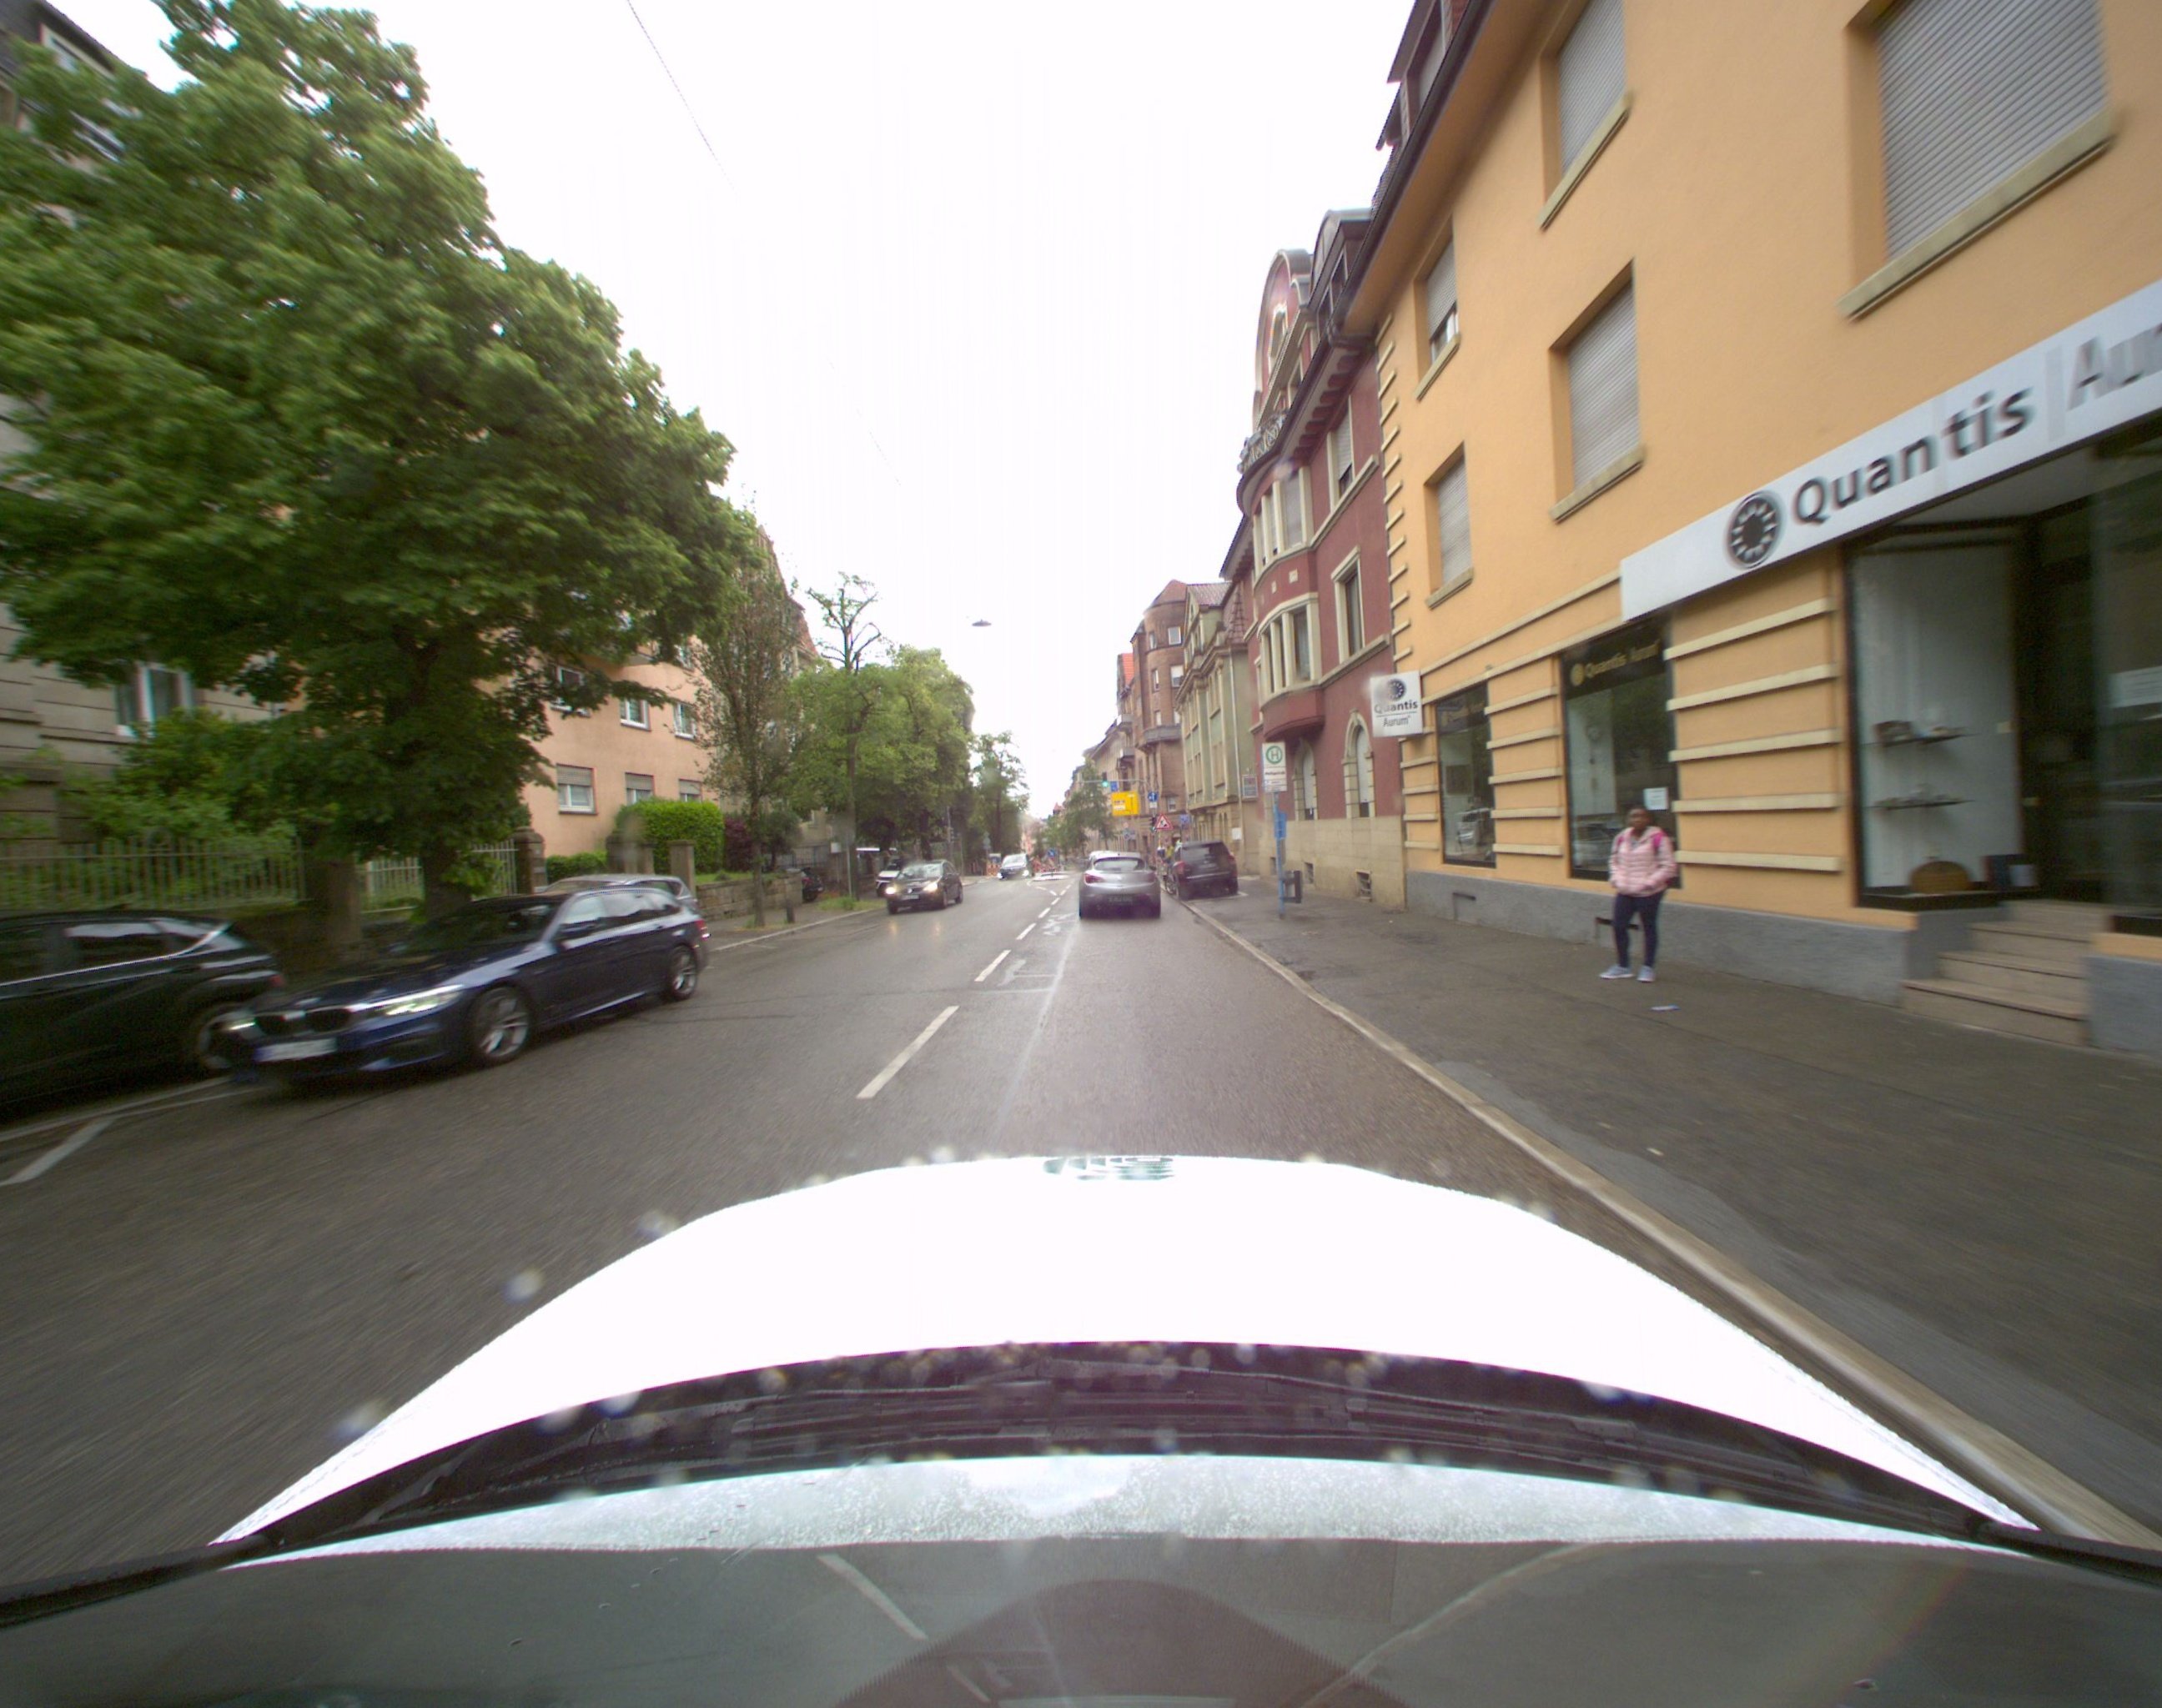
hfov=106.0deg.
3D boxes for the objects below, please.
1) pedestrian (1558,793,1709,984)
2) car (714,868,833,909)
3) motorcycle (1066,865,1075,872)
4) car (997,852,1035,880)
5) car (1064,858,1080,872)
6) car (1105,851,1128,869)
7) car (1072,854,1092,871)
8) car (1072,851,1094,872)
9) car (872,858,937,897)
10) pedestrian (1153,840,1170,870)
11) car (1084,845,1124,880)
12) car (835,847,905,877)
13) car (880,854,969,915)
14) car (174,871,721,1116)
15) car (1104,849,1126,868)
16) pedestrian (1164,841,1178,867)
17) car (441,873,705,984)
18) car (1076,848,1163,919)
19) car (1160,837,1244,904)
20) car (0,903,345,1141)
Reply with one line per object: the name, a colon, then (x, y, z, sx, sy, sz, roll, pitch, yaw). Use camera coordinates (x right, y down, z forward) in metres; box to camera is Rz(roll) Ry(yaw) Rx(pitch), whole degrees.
pedestrian: (4.954, 0.293, 7.336, 0.768, 1.589, 0.708, -4, -1, -17)
car: (-12.235, 1.357, 32.586, 3.974, 1.326, 1.837, -4, 0, 0)
motorcycle: (-1.874, 2.710, 147.326, 0.649, 1.236, 1.994, -3, -3, 34)
car: (-3.845, 0.697, 48.877, 1.809, 1.517, 4.548, -2, 0, 0)
car: (-1.170, 1.398, 104.741, 1.654, 1.543, 3.658, -6, -1, -5)
car: (3.475, 0.594, 79.715, 1.654, 1.543, 3.658, -6, -1, -5)
car: (0.077, 0.911, 83.946, 1.654, 1.543, 3.658, -6, -1, -5)
car: (0.201, 0.677, 68.574, 1.651, 1.543, 3.666, -6, -1, 1)
car: (-7.669, 1.016, 35.815, 1.734, 1.559, 4.304, -2, -1, 2)
pedestrian: (5.058, 0.072, 51.141, 0.712, 1.774, 0.669, -5, 0, 20)
car: (1.133, 0.419, 39.480, 1.765, 1.504, 3.871, -2, -1, 2)
car: (-15.906, 0.576, 61.501, 4.627, 2.048, 2.034, 2, 2, 16)
car: (-4.862, 0.900, 25.994, 1.766, 1.517, 4.592, -4, 2, 1)
car: (-5.759, 1.093, 8.437, 1.766, 1.467, 4.749, -4, 2, 1)
car: (2.878, 0.397, 69.219, 1.765, 1.504, 3.871, -2, -1, 2)
pedestrian: (5.622, -0.016, 50.797, 0.591, 1.584, 0.669, -5, 0, 20)
car: (-8.531, 1.156, 14.223, 1.734, 1.559, 4.304, -2, -1, 2)
car: (0.923, 0.663, 19.445, 1.804, 1.449, 3.872, -2, -1, 3)
car: (3.510, 0.487, 24.460, 1.869, 1.629, 4.700, -6, -1, 2)
car: (-8.553, 1.271, 6.351, 1.736, 1.559, 4.300, -1, -1, -1)
